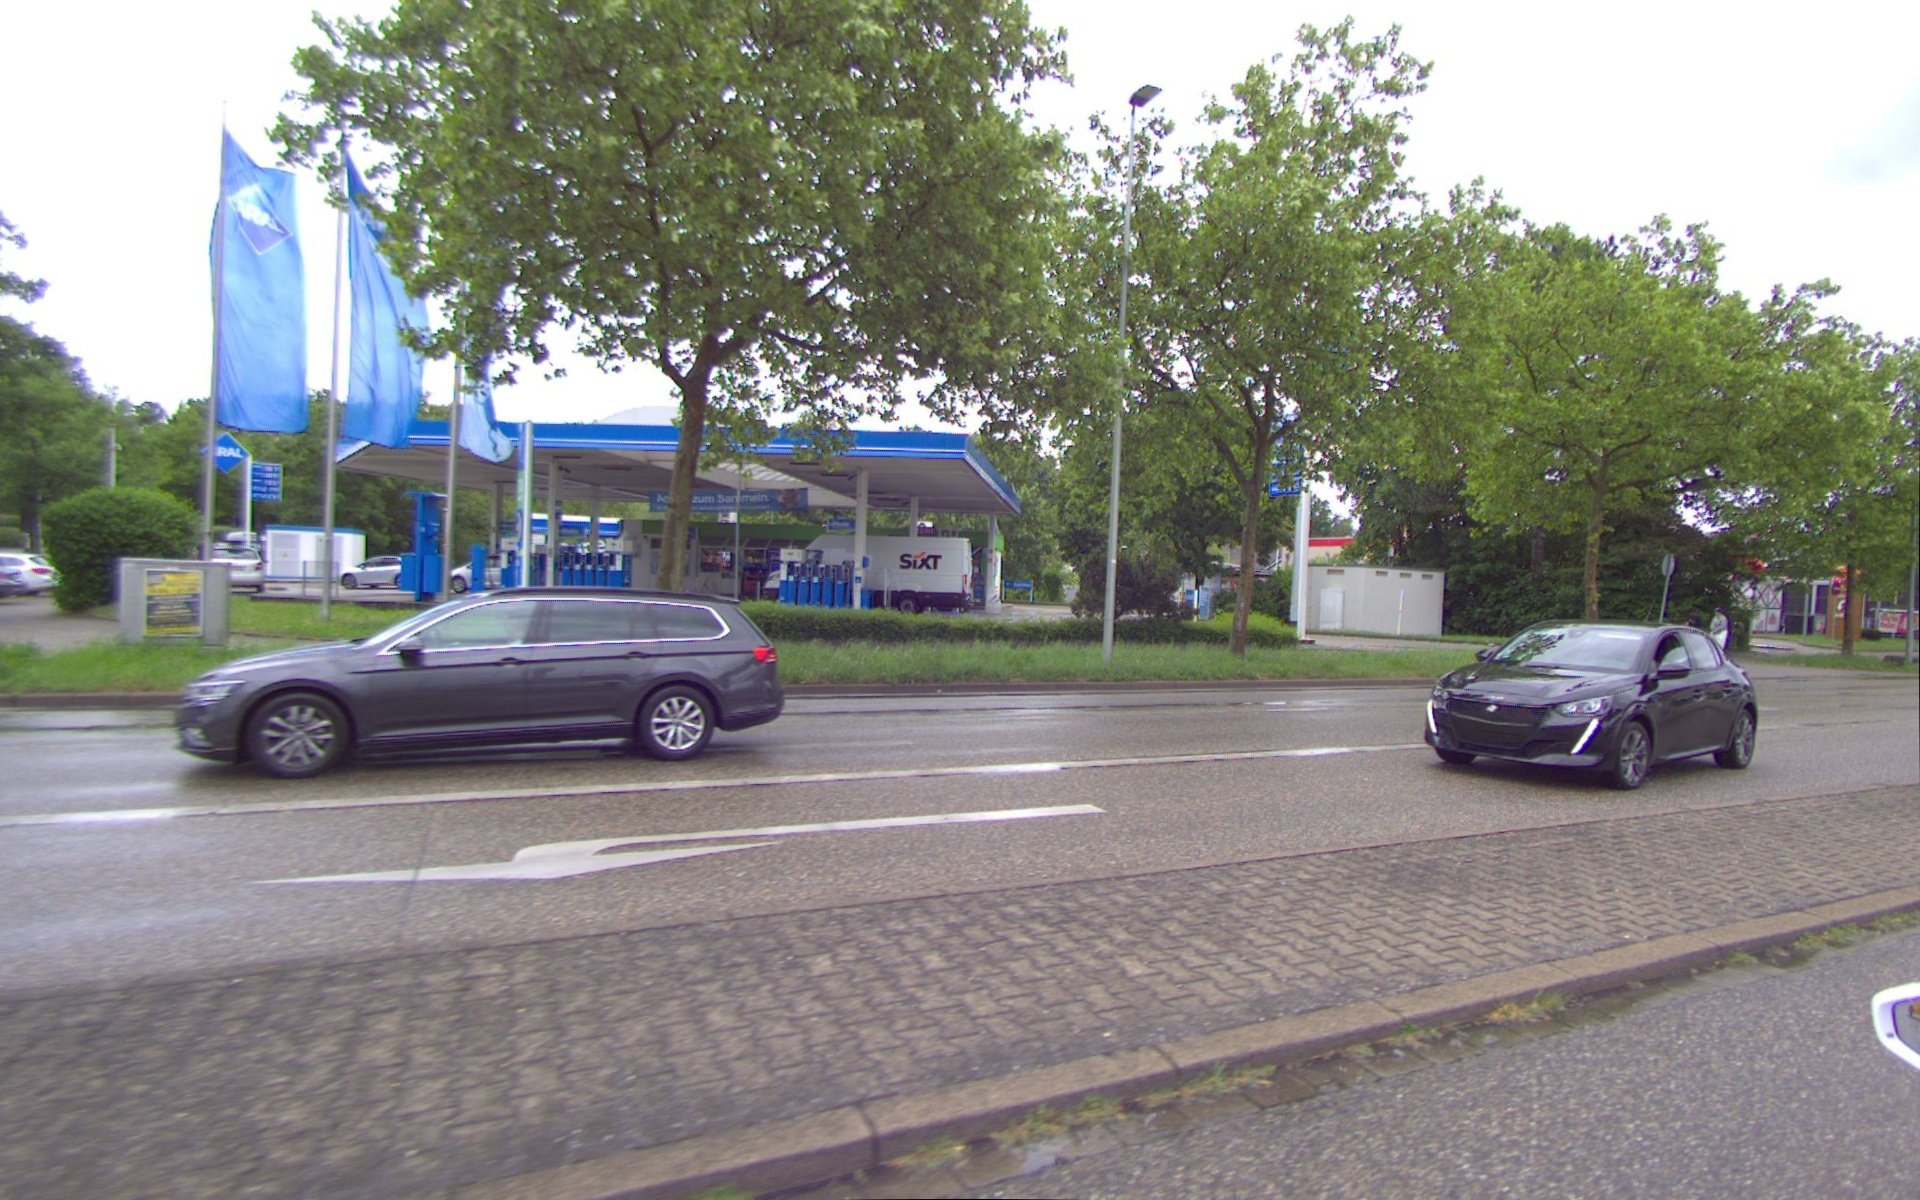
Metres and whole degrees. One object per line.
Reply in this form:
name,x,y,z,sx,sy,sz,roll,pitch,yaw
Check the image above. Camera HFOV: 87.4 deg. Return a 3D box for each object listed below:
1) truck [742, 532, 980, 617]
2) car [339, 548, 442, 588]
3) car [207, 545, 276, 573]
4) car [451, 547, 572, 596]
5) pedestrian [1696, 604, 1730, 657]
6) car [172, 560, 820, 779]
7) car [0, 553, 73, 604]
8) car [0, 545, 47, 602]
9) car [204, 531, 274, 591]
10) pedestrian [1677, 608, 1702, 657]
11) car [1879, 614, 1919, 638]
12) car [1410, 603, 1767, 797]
truck,-3.279,-0.852,34.122,7.714,2.711,2.156,1,0,6
car,-26.944,-1.493,47.599,3.919,1.751,1.796,1,0,8
car,-50.627,-2.868,70.873,3.660,1.773,1.686,2,0,-25
car,-18.174,-1.179,40.806,4.045,1.832,1.946,2,3,6
pedestrian,26.283,1.057,35.061,0.573,1.790,0.665,2,2,-10
car,-3.796,0.528,8.915,4.668,1.528,1.987,1,0,-26
car,-32.052,-0.751,32.597,4.528,1.610,1.916,2,0,-27
car,-29.042,-0.788,28.053,4.838,1.569,1.986,1,0,-27
car,-24.373,-1.281,33.969,1.797,1.821,3.661,2,0,-36
pedestrian,25.982,1.152,35.772,0.534,1.705,0.509,1,0,-31
car,53.650,1.523,56.060,1.273,1.171,3.165,1,3,-24
car,6.246,0.844,9.857,3.856,1.528,1.632,1,0,-36
